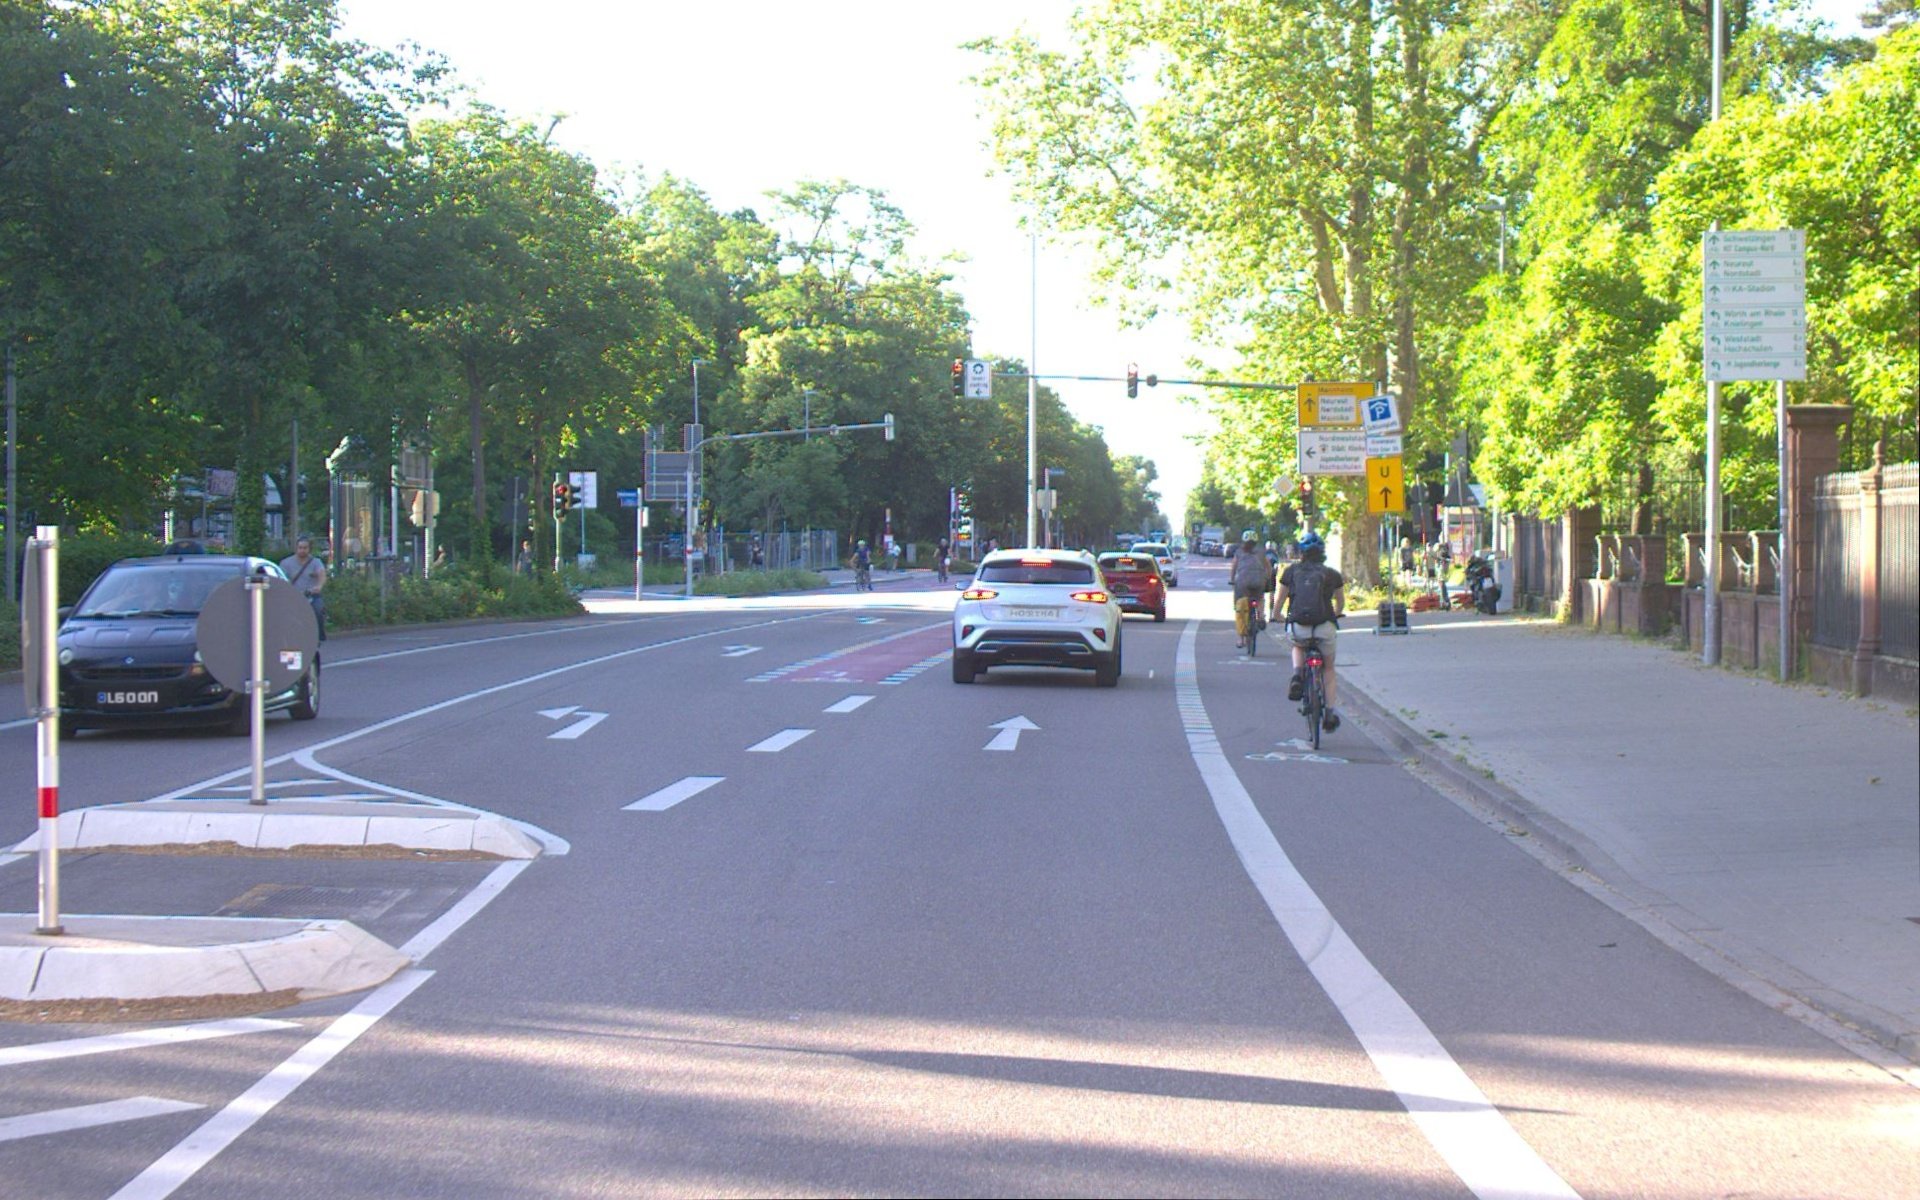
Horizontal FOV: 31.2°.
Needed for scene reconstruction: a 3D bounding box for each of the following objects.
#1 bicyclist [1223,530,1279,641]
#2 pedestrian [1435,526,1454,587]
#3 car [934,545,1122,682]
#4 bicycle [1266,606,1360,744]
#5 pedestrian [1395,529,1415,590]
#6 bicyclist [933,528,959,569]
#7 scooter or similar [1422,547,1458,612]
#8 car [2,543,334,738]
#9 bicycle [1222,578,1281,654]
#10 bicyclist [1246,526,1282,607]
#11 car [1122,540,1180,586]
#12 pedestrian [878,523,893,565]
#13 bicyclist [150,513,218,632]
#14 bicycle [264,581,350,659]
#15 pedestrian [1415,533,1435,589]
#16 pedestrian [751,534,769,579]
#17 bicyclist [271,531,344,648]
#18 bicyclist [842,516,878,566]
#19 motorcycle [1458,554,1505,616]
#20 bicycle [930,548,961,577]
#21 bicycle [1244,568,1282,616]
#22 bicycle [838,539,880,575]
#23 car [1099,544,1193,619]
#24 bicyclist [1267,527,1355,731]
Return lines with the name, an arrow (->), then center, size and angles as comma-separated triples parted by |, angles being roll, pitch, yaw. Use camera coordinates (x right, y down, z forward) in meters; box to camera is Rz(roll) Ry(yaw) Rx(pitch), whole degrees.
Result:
bicyclist -> 4.049, -0.211, 47.887 | 0.747, 1.532, 0.969 | 0, 1, 3
pedestrian -> 14.665, -1.311, 104.030 | 0.482, 1.786, 0.431 | -3, 4, 10
car -> 0.821, 0.111, 39.017 | 1.994, 1.448, 4.000 | -1, 1, 3
bicycle -> 2.857, 0.588, 27.983 | 0.643, 1.021, 2.212 | 1, 1, 3
pedestrian -> 13.363, -1.224, 103.186 | 0.482, 1.786, 0.431 | -3, 4, 10
bicyclist -> -0.578, -2.131, 142.302 | 0.956, 1.699, 1.232 | -1, 1, 5
scooter or similar -> 10.345, -0.457, 74.103 | 0.566, 1.378, 1.856 | -1, 1, 2
car -> -6.365, 0.271, 28.038 | 1.758, 1.454, 4.000 | 0, 1, 0
bicycle -> 4.047, 0.211, 47.870 | 0.753, 1.022, 1.869 | 1, 0, 3
bicyclist -> 6.641, -0.737, 75.121 | 0.750, 1.744, 0.843 | 1, 1, 3
car -> 6.580, -1.284, 117.975 | 1.737, 1.541, 3.999 | 0, 1, 7
pedestrian -> -3.579, -2.681, 165.246 | 0.656, 2.007, 0.832 | -1, 1, 2
bicyclist -> -10.216, -0.369, 45.274 | 0.629, 1.517, 0.724 | -3, 1, 1
bicycle -> -8.216, 0.240, 43.319 | 0.616, 0.918, 2.179 | -1, 1, 1
pedestrian -> 13.956, -1.170, 103.165 | 0.482, 1.634, 0.431 | -3, 4, 10
pedestrian -> -8.290, -1.803, 142.561 | 0.651, 1.881, 0.662 | -1, 1, 6
bicyclist -> -8.219, -0.139, 43.337 | 0.646, 1.414, 0.971 | -3, 1, 1
bicyclist -> -3.509, -2.063, 120.907 | 1.092, 1.748, 1.097 | -1, 1, 6
motorcycle -> 10.202, -0.301, 67.322 | 0.662, 1.163, 2.327 | -3, 1, 3
bicycle -> -0.607, -1.575, 142.374 | 0.964, 1.177, 2.950 | -1, 1, 6
bicycle -> 6.628, -0.185, 75.180 | 0.753, 1.022, 1.869 | 1, 0, 3
bicycle -> -3.530, -1.517, 120.696 | 1.102, 1.250, 2.778 | -1, 1, 6
car -> 3.980, -0.410, 73.491 | 1.929, 1.528, 4.000 | -1, 1, 3
bicyclist -> 2.849, 0.219, 27.992 | 0.636, 1.609, 1.284 | 1, 1, 3
